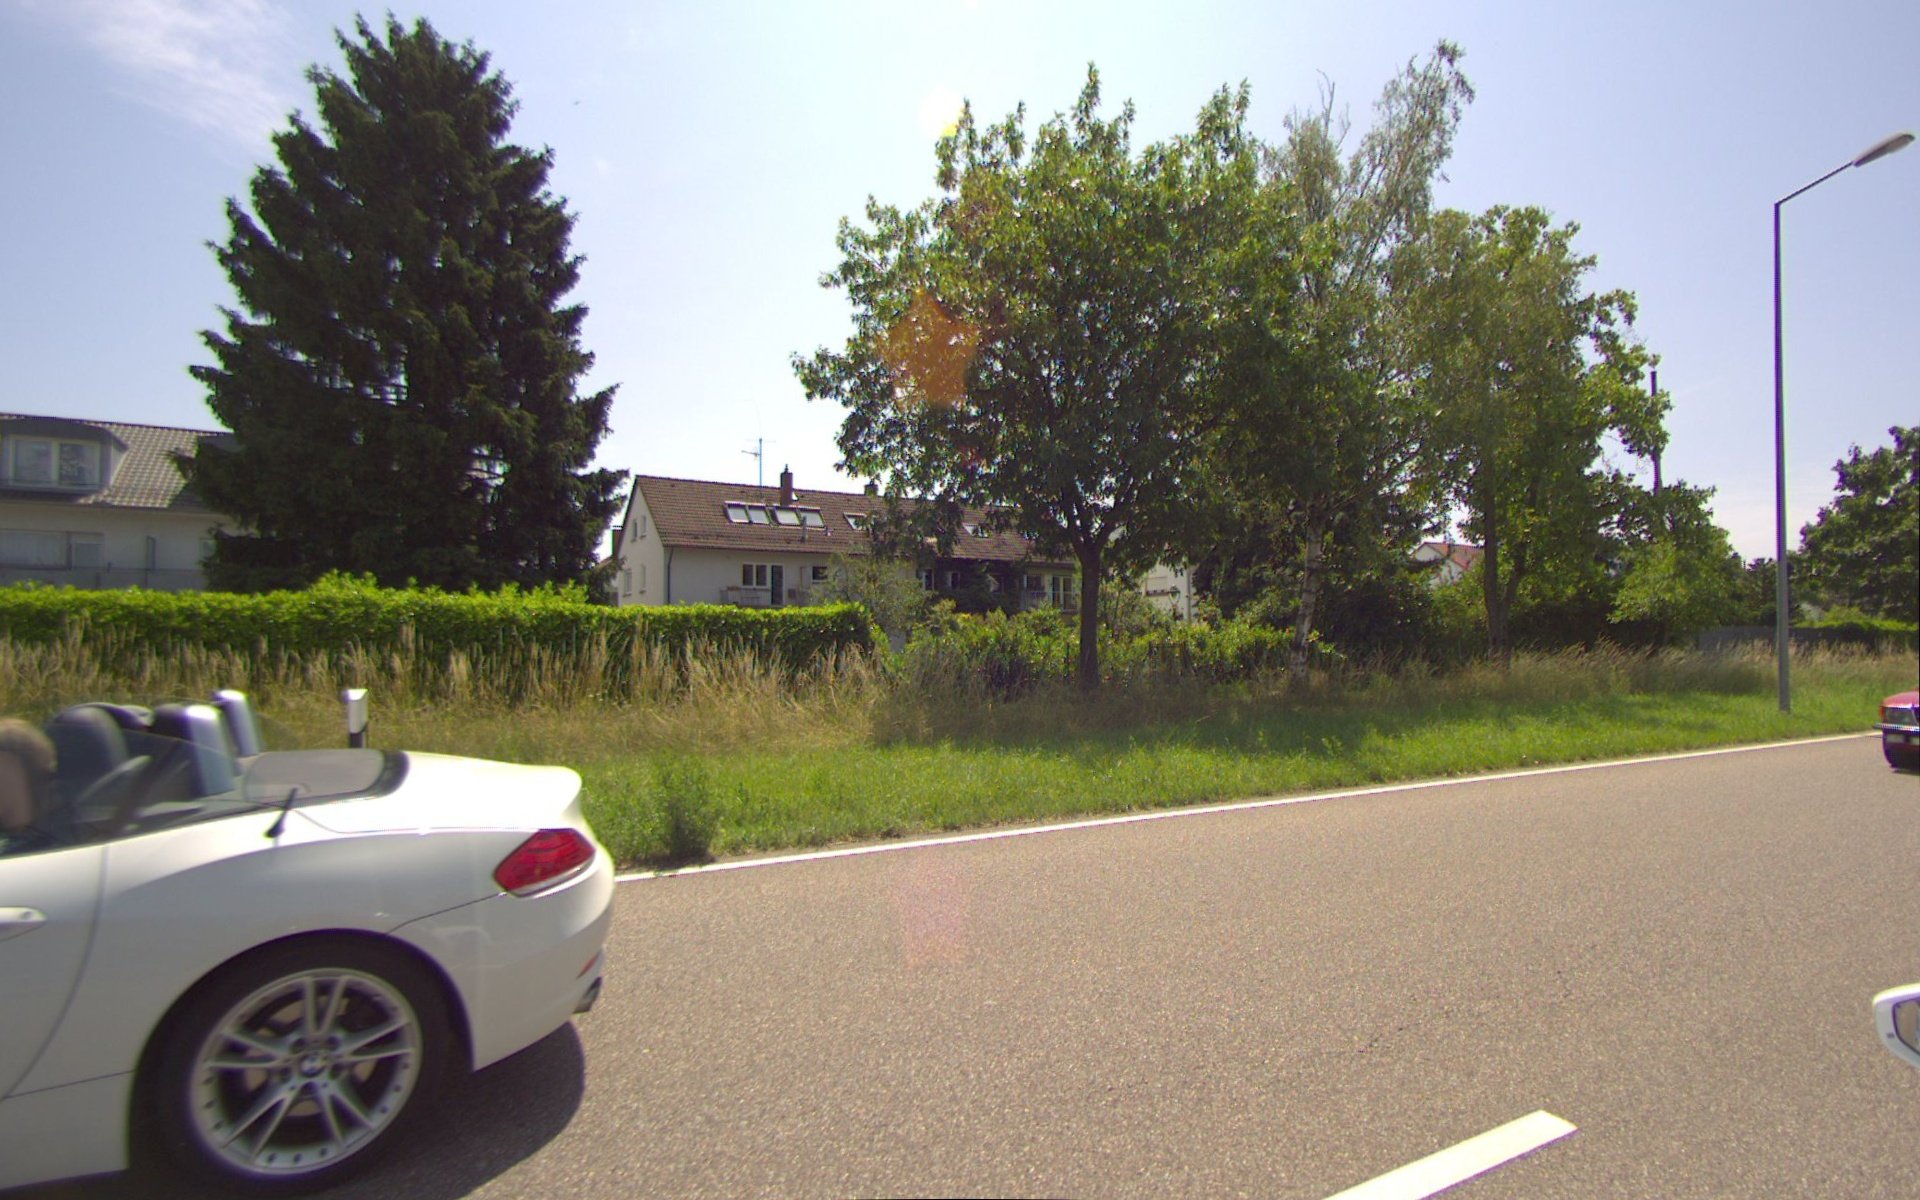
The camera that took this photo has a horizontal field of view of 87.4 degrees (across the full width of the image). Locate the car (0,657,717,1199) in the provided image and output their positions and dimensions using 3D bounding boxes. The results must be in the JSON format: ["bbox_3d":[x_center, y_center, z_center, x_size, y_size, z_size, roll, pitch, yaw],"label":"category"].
[{"bbox_3d":[-2.806,0.815,2.727,3.863,1.265,1.674,2,-2,-30],"label":"car"}]

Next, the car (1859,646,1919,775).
[{"bbox_3d":[11.840,1.191,11.040,4.203,1.318,1.741,2,-2,-30],"label":"car"}]
